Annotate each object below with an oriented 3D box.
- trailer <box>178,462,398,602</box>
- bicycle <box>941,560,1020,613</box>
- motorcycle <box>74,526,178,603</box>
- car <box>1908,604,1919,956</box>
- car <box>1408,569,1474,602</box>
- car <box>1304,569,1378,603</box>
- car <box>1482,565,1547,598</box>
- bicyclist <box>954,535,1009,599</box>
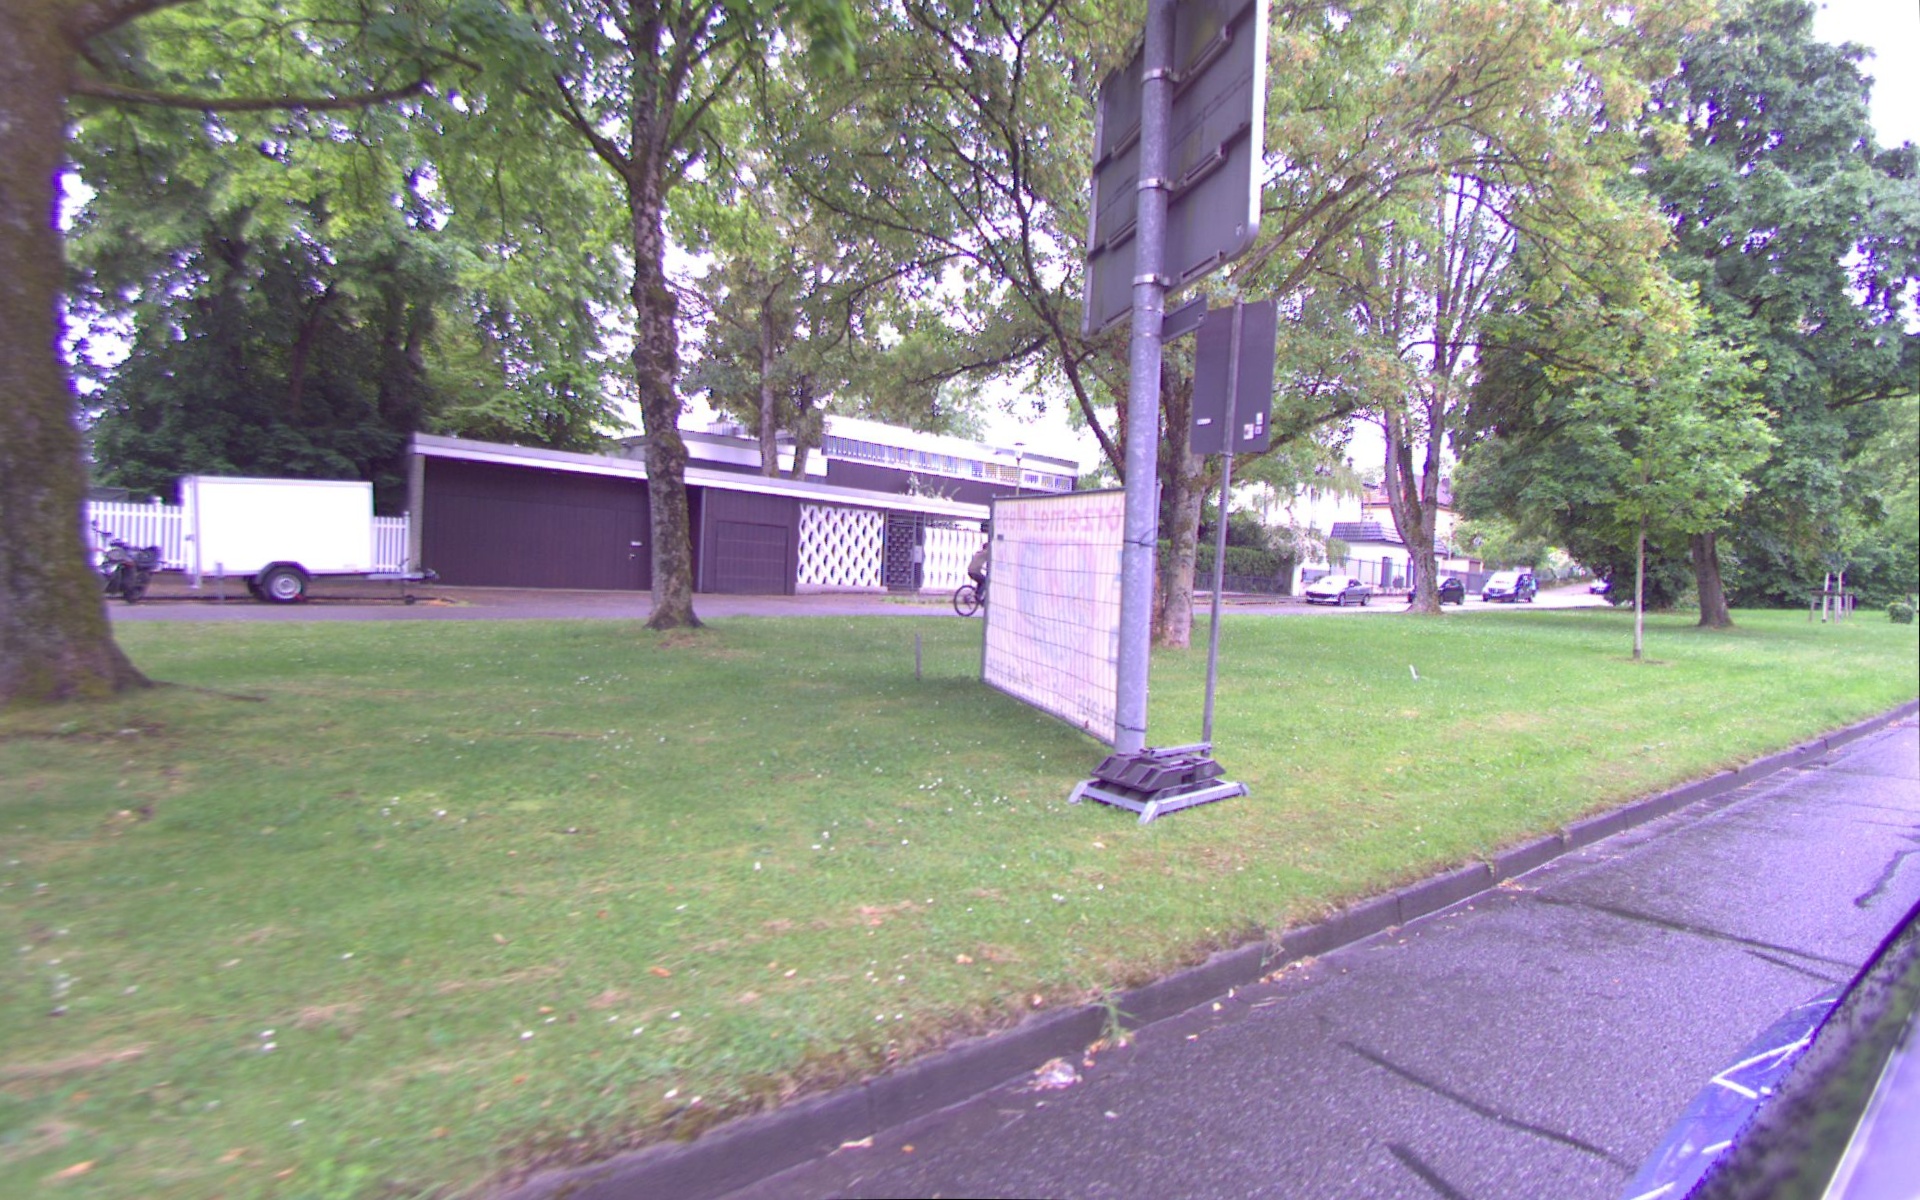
[{"bbox_3d":[-11.462,-1.107,17.355,1.437,2.181,2.903,4,3,44],"label":"trailer"},{"bbox_3d":[0.480,-0.307,22.926,1.830,1.152,0.597,-1,2,-40],"label":"bicycle"},{"bbox_3d":[-13.056,-0.560,15.907,0.645,1.106,1.896,2,1,-21],"label":"motorcycle"},{"bbox_3d":[6.319,0.740,4.994,4.429,1.486,1.795,0,-1,-39],"label":"car"},{"bbox_3d":[26.006,-0.802,54.698,3.969,1.644,1.904,-2,4,-44],"label":"car"},{"bbox_3d":[17.417,-0.676,46.196,3.648,1.392,1.684,-1,5,-43],"label":"car"},{"bbox_3d":[34.728,-1.212,63.300,4.986,1.901,2.162,-2,4,-44],"label":"car"},{"bbox_3d":[0.487,-0.736,22.919,0.982,1.408,0.746,0,2,-40],"label":"bicyclist"}]
